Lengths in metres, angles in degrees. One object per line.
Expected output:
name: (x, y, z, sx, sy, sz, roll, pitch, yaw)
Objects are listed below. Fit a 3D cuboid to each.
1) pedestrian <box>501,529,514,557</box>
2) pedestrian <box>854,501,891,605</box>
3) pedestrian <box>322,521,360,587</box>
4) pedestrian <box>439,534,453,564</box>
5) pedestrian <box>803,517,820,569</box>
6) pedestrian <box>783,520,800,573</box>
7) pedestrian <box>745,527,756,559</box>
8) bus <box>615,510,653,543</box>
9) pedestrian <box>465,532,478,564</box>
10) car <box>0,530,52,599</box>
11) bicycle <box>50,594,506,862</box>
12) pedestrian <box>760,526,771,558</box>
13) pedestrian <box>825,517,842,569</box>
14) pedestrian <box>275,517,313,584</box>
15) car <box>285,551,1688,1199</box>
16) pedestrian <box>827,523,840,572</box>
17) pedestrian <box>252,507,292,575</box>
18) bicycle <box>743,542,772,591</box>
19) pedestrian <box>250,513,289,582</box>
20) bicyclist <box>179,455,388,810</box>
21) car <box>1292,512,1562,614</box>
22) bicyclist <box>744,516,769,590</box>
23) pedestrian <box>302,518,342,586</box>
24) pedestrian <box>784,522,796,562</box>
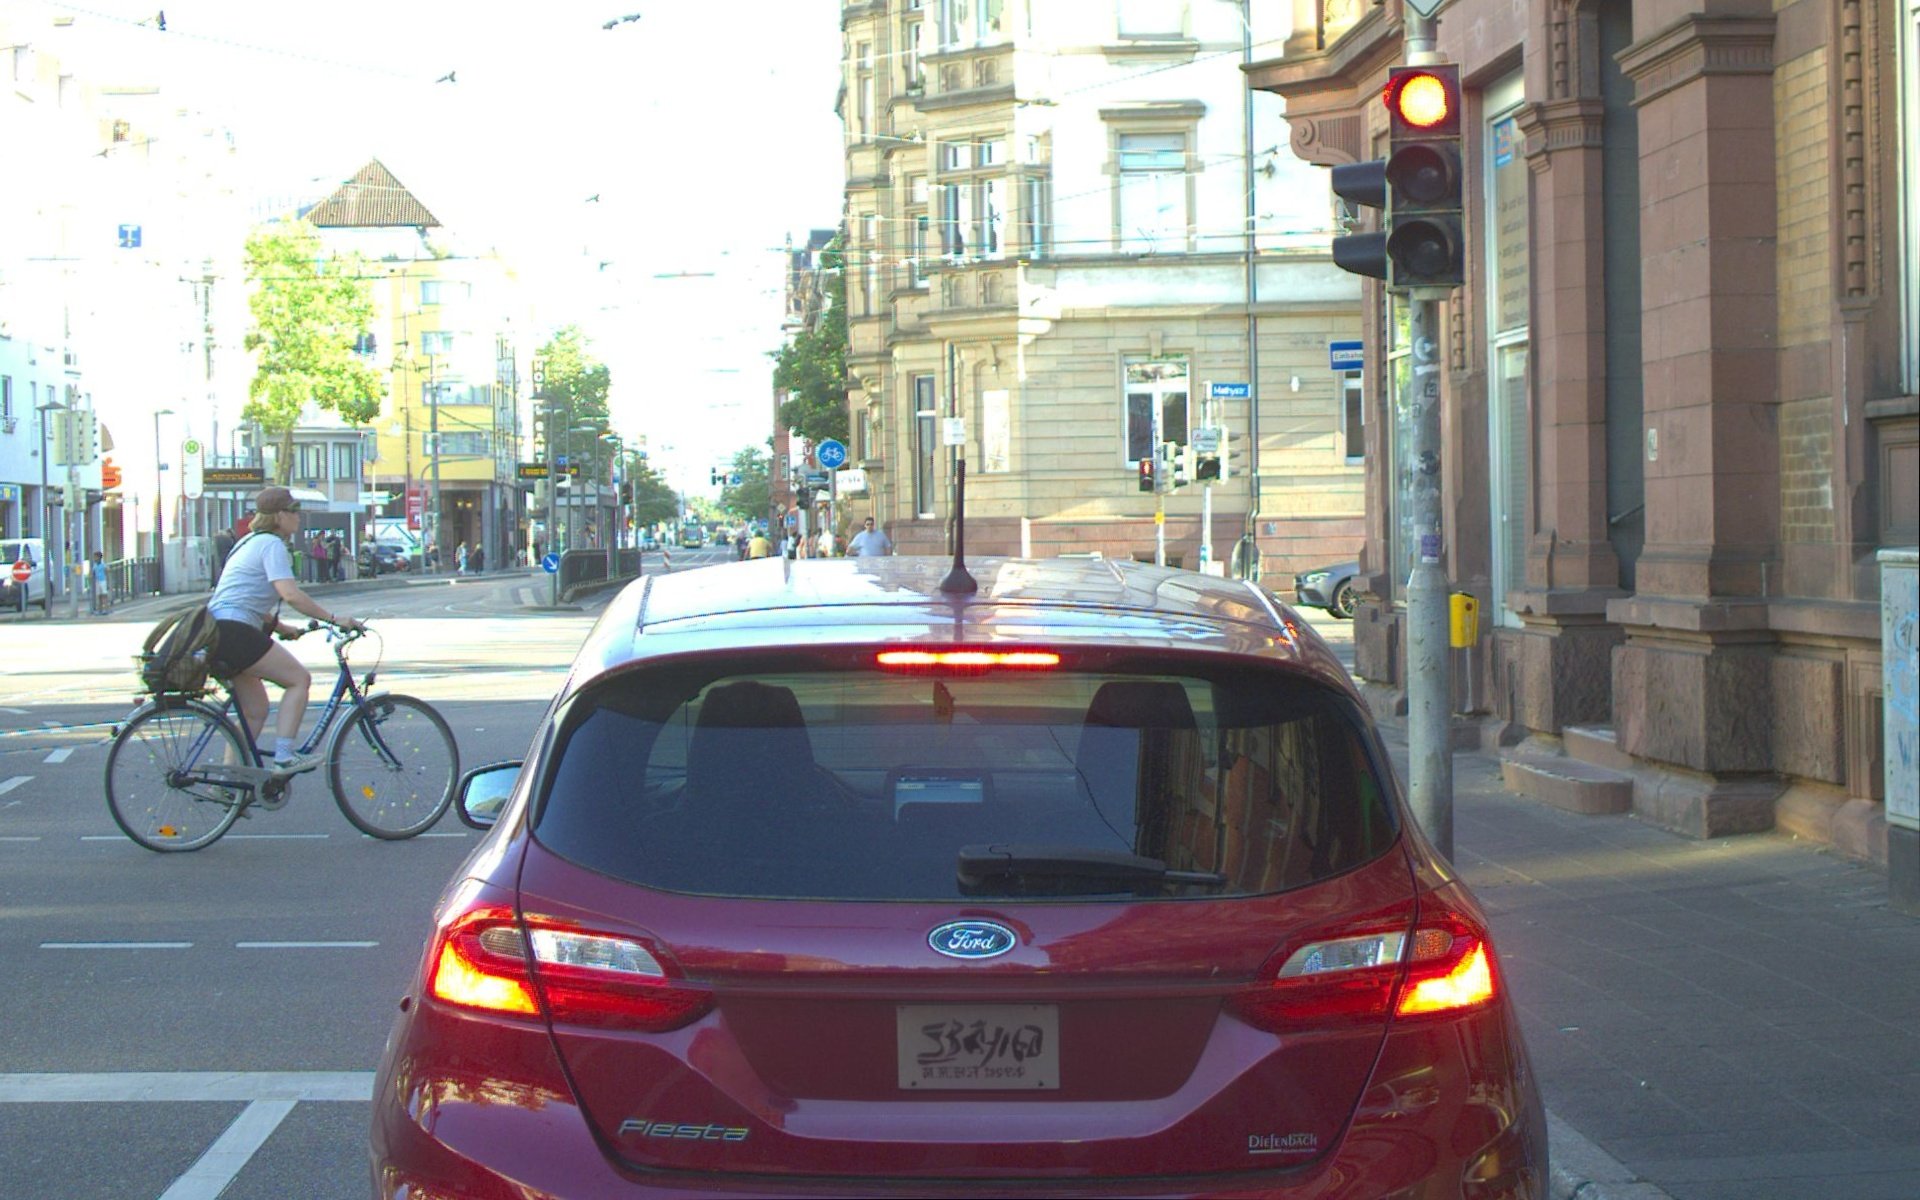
pedestrian: (-25.923, -3.287, 197.061, 0.628, 1.599, 0.579, -1, 1, -20)
pedestrian: (-1.708, -0.925, 67.015, 0.651, 2.007, 0.760, -1, 1, -4)
pedestrian: (-19.057, -1.431, 105.817, 1.045, 2.007, 0.959, -1, 1, -5)
pedestrian: (-25.278, -2.502, 169.087, 0.580, 1.483, 0.526, -1, 1, -5)
pedestrian: (-5.711, -2.197, 132.210, 0.577, 2.007, 0.631, -1, 1, 3)
pedestrian: (-6.476, -2.062, 132.255, 0.577, 2.007, 0.631, -1, 1, 3)
pedestrian: (-12.490, -3.384, 205.098, 0.577, 1.880, 0.669, -1, 1, -3)
bus: (-20.563, -4.619, 217.335, 1.925, 2.007, 7.138, -1, 1, -2)
pedestrian: (-23.403, -2.492, 164.830, 0.524, 1.483, 0.583, -1, 1, -1)
car: (-24.405, -0.908, 87.758, 1.701, 1.713, 3.565, -1, 1, -4)
bicycle: (-3.200, 0.573, 16.212, 2.018, 1.173, 0.628, 0, 1, -33)
pedestrian: (-11.375, -3.379, 201.129, 0.577, 1.880, 0.631, -1, 1, -3)
pedestrian: (-4.952, -2.239, 134.904, 0.577, 2.007, 0.631, -1, 1, 3)
pedestrian: (-20.374, -1.522, 105.185, 1.045, 2.007, 0.959, -1, 1, -5)
car: (-0.130, 0.658, 6.268, 1.754, 1.461, 3.946, 1, 1, -5)
pedestrian: (-4.345, -1.789, 118.183, 0.413, 1.674, 0.485, -1, 1, -1)
pedestrian: (-20.572, -1.752, 102.818, 1.045, 2.007, 0.959, -1, 1, -5)
bicycle: (-4.610, -0.772, 78.395, 0.526, 1.085, 1.486, -1, 1, 2)
pedestrian: (-20.258, -1.539, 100.899, 0.956, 2.007, 1.049, -1, 1, -3)
bicyclist: (-3.195, 0.139, 16.214, 0.729, 1.621, 0.766, 0, 1, -33)
car: (7.864, -0.627, 58.129, 4.445, 1.635, 1.704, -1, 1, 6)
bicyclist: (-4.620, -1.070, 78.244, 0.499, 1.670, 0.545, -1, 1, 1)
pedestrian: (-19.126, -1.433, 103.084, 1.045, 2.007, 0.959, -1, 1, -5)
pedestrian: (-8.701, -2.969, 175.998, 0.577, 2.007, 0.631, -1, 1, -2)
